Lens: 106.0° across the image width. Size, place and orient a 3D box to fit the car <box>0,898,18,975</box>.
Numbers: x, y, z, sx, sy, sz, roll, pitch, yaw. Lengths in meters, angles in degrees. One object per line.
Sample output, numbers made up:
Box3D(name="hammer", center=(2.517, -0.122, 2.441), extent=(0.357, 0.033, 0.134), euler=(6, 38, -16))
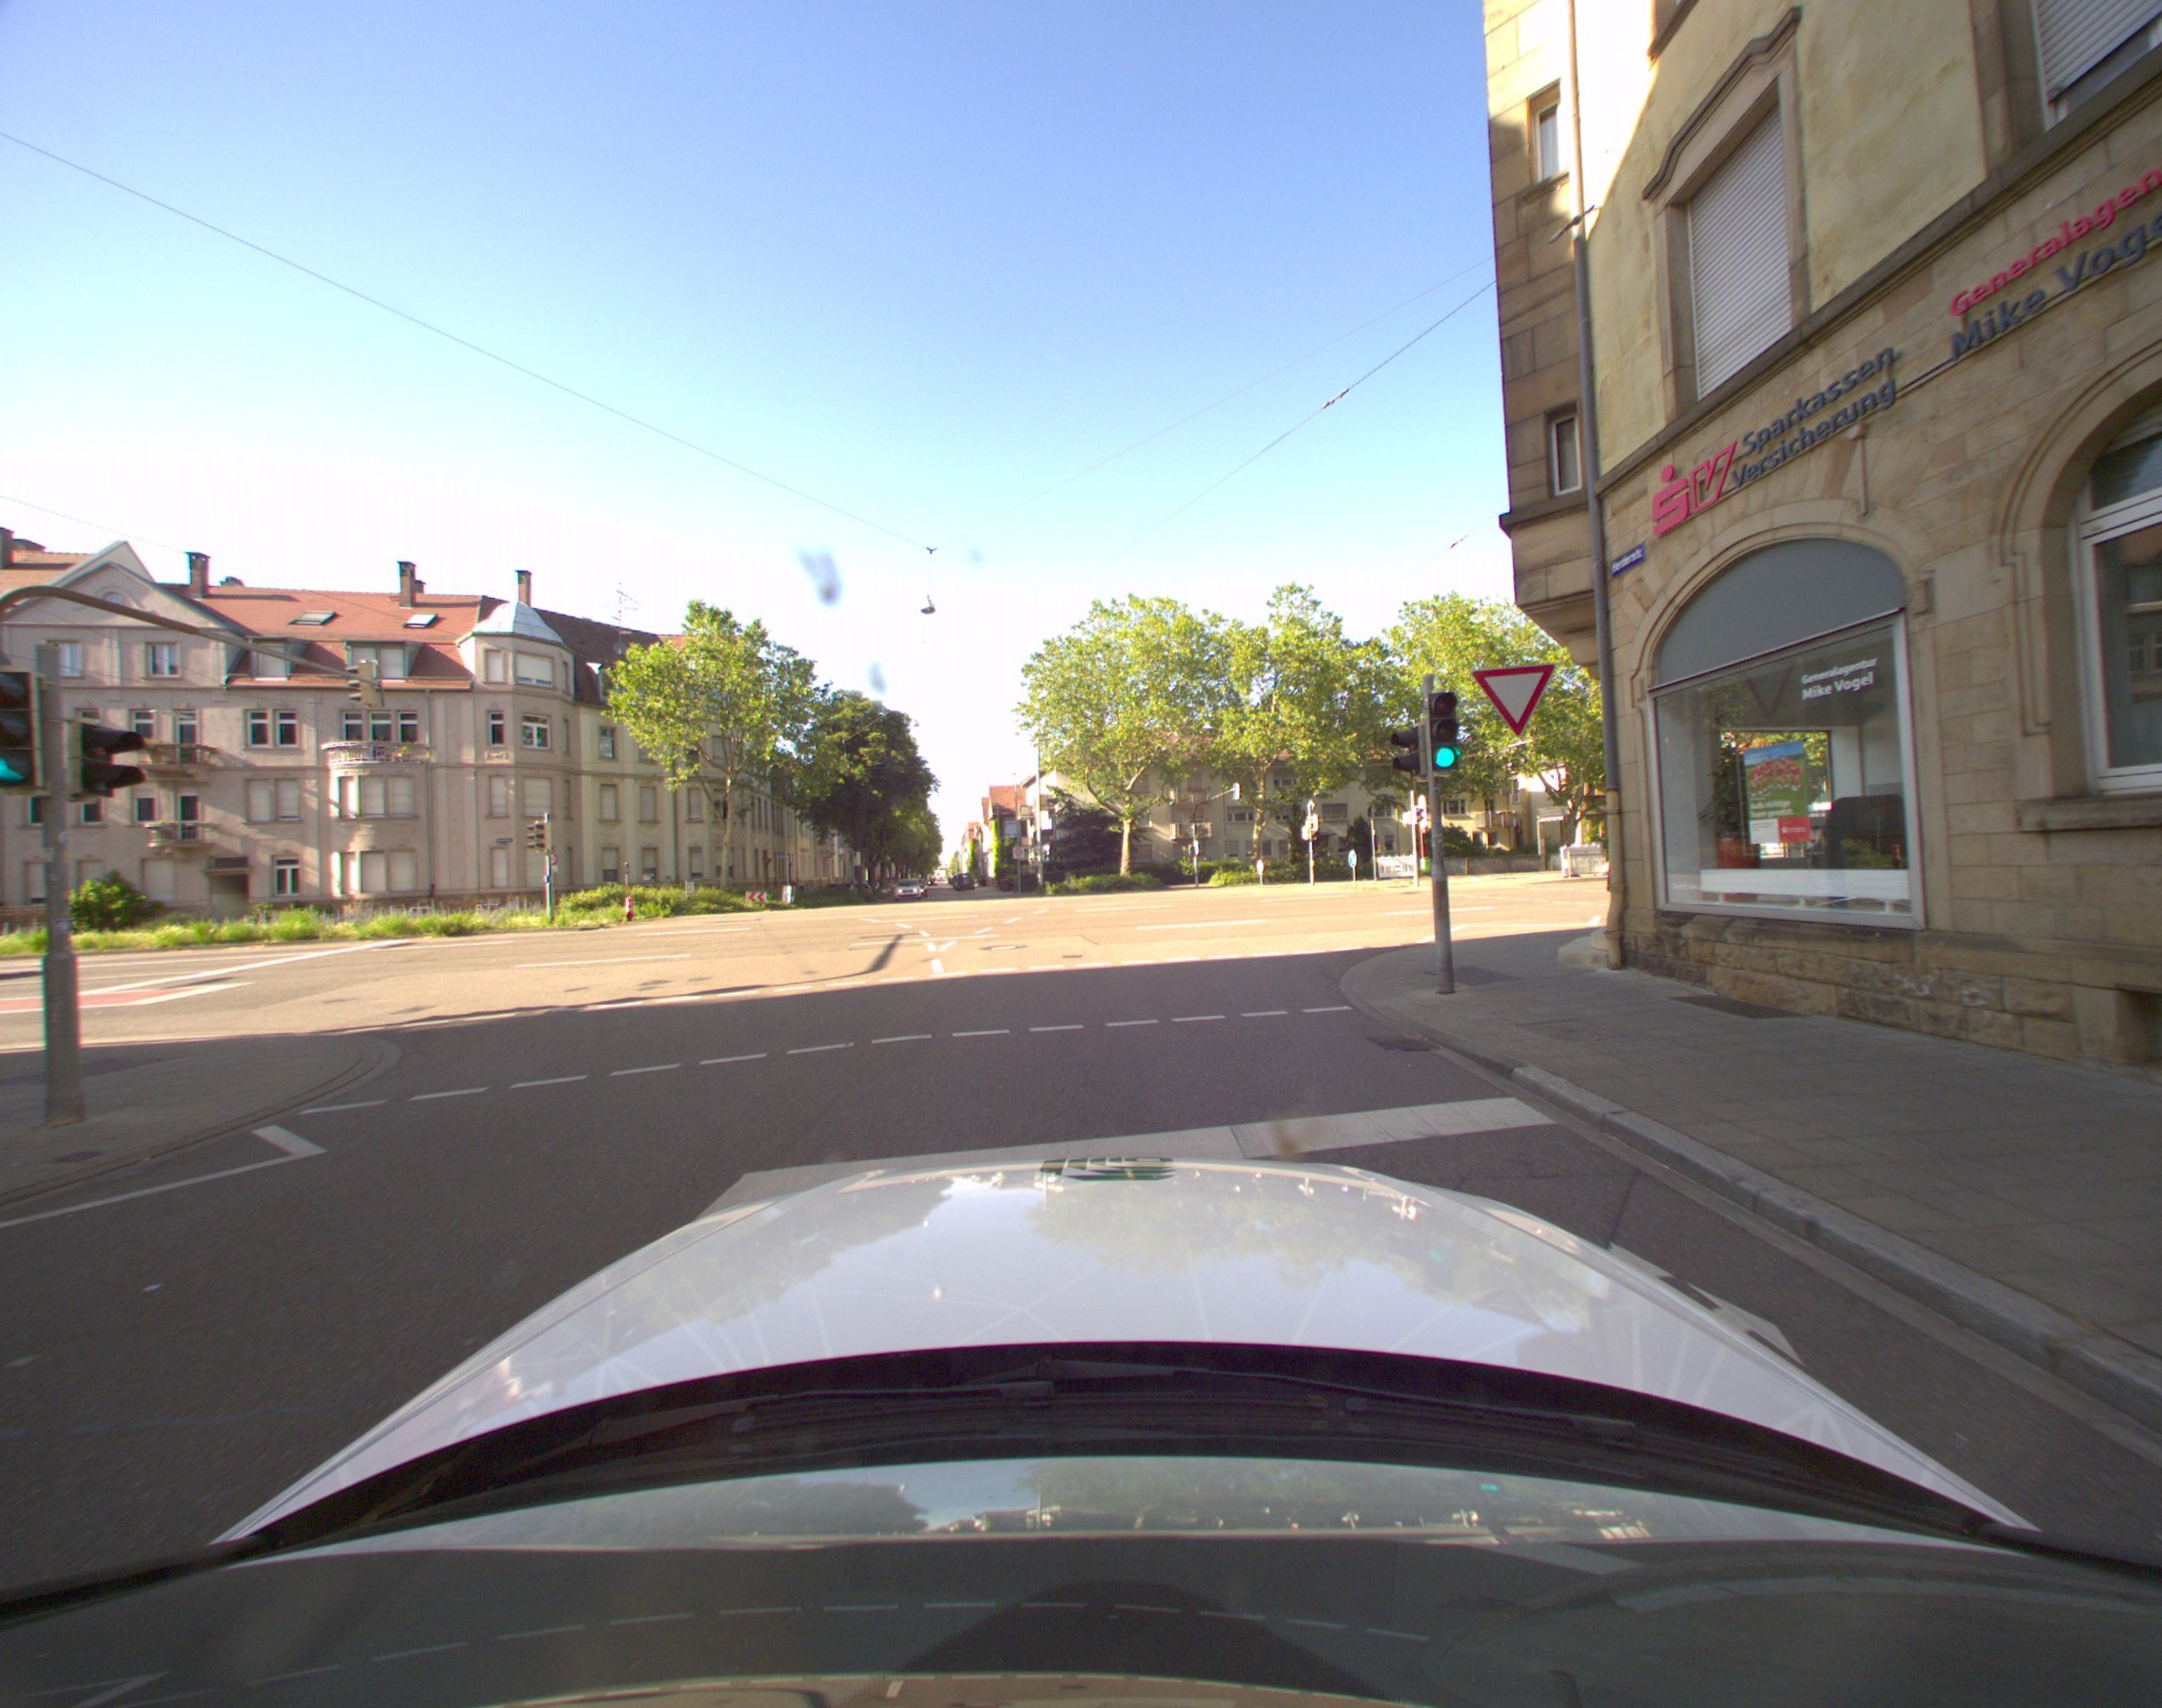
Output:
Box3D(name="car", center=(-25.323, 1.881, 16.528), extent=(4.229, 1.644, 1.992), euler=(-2, 0, -11))

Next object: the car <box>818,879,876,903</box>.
Box3D(name="car", center=(-17.253, 2.711, 60.108), extent=(3.884, 1.476, 1.609), euler=(-3, -2, -11))

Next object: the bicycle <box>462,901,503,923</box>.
Box3D(name="bicycle", center=(-27.839, 2.692, 37.902), extent=(1.436, 0.905, 0.494), euler=(-2, -1, -15))

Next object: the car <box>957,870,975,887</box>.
Box3D(name="car", center=(-12.954, 2.746, 91.464), extent=(1.865, 1.916, 4.766), euler=(-1, -1, -10))

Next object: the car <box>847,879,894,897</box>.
Box3D(name="car", center=(-19.585, 3.150, 75.865), extent=(3.986, 1.482, 1.779), euler=(-2, -2, -9))

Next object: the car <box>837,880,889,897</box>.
Box3D(name="car", center=(-19.032, 3.009, 71.322), extent=(4.213, 1.349, 1.697), euler=(-2, -2, -11))

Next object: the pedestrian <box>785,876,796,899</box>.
Box3D(name="pedestrian", center=(-20.972, 2.433, 58.850), extent=(0.458, 1.658, 0.894), euler=(-2, -2, -2))

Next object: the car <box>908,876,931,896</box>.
Box3D(name="car", center=(-12.985, 2.564, 65.571), extent=(1.660, 1.464, 3.796), euler=(-2, -1, -9))

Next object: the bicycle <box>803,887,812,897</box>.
Box3D(name="bicycle", center=(-23.286, 3.231, 69.260), extent=(0.573, 0.816, 0.963), euler=(1, -2, -11))

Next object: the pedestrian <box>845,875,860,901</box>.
Box3D(name="pedestrian", center=(-14.837, 2.191, 52.942), extent=(0.691, 1.682, 0.680), euler=(-3, -1, 0))

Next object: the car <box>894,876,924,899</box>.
Box3D(name="car", center=(-11.745, 2.288, 55.748), extent=(1.807, 1.458, 3.984), euler=(-2, -2, -11))

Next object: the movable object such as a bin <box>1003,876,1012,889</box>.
Box3D(name="movable object such as a bin", center=(-6.230, 2.439, 68.887), extent=(0.597, 1.044, 0.704), euler=(-6, -1, -13))

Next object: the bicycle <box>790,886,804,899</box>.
Box3D(name="bicycle", center=(-20.502, 2.786, 58.843), extent=(0.471, 0.912, 1.595), euler=(-2, -1, -3))

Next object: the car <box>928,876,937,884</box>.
Box3D(name="car", center=(-29.594, 5.143, 162.514), extent=(1.642, 1.508, 3.688), euler=(-3, -1, -10))

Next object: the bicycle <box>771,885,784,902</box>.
Box3D(name="bicycle", center=(-22.474, 2.905, 60.319), extent=(0.514, 1.154, 1.975), euler=(0, -1, -10))
